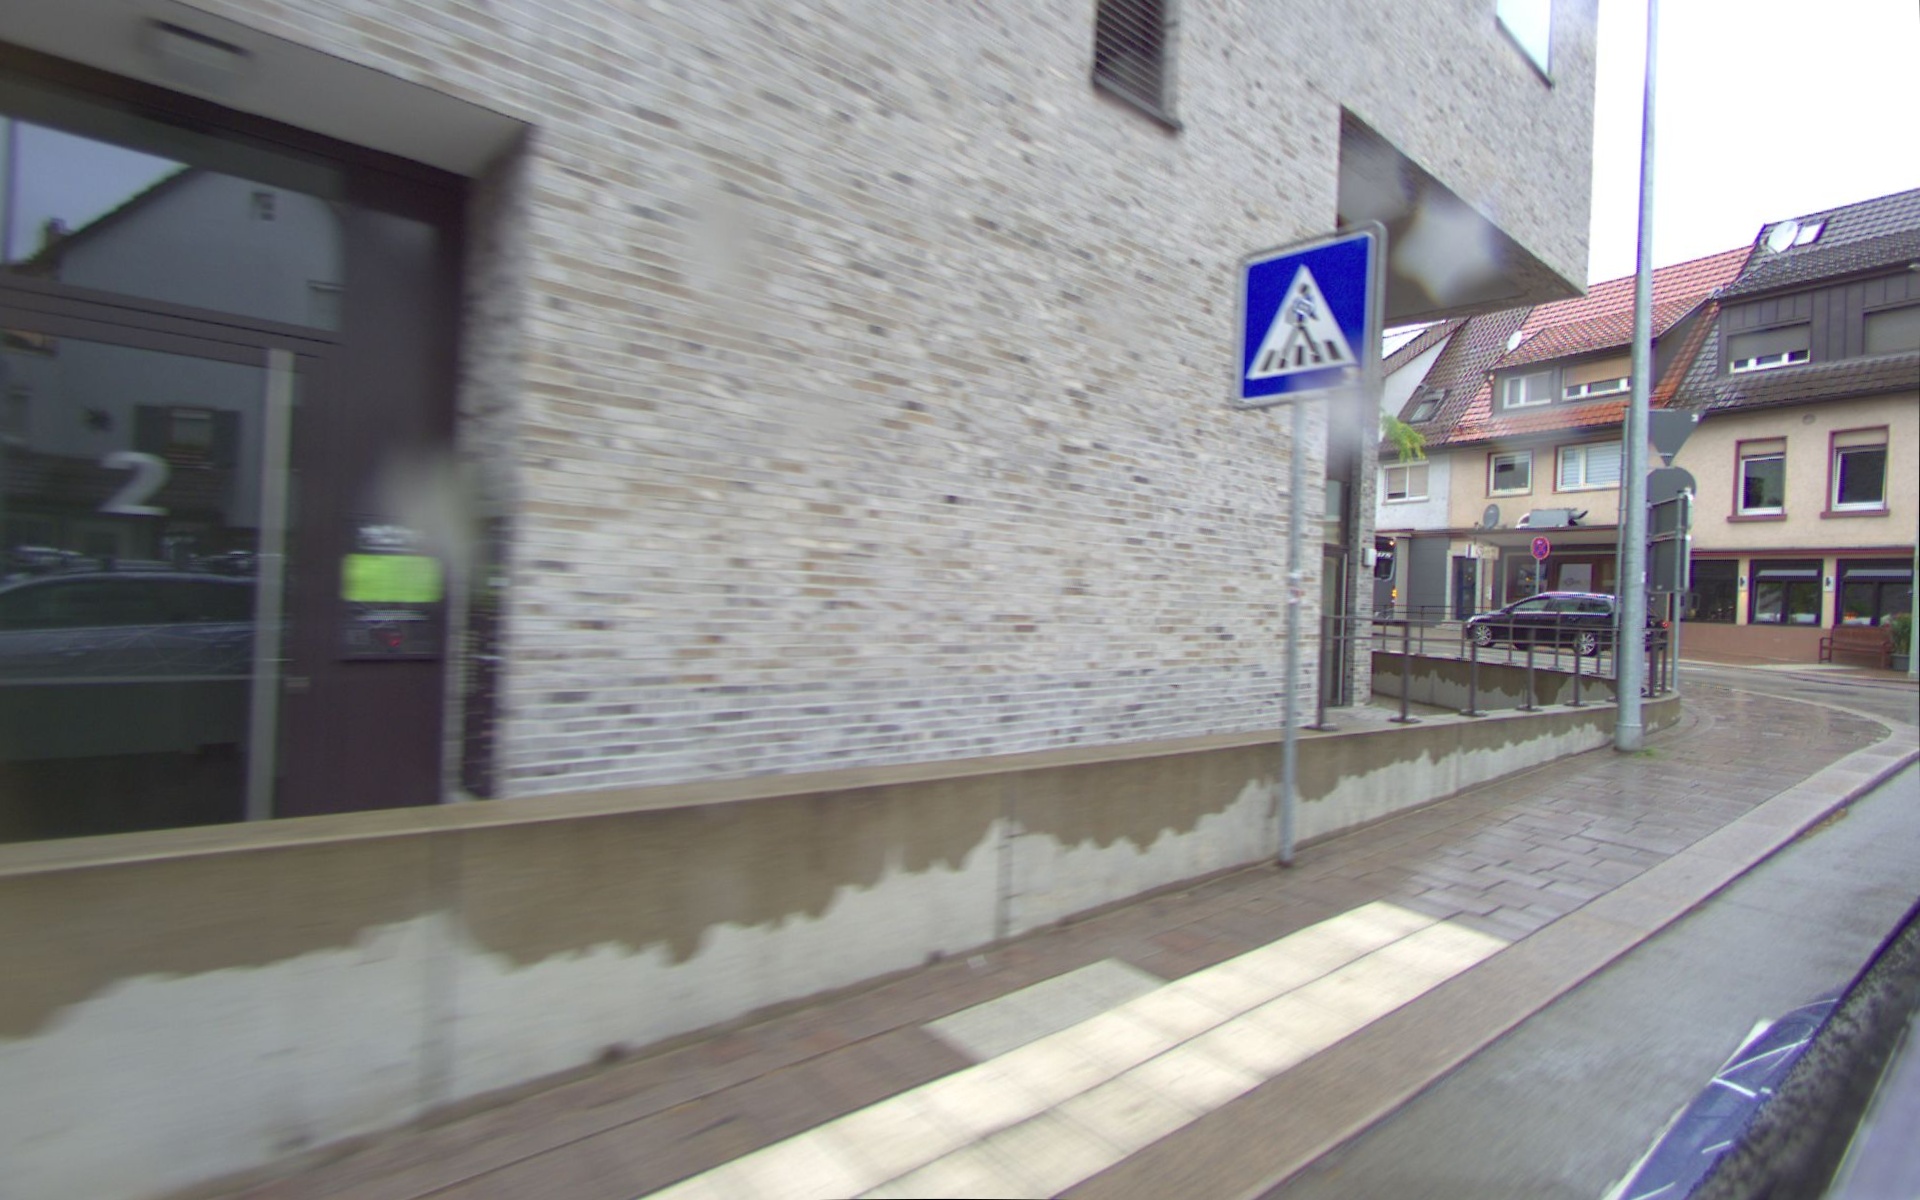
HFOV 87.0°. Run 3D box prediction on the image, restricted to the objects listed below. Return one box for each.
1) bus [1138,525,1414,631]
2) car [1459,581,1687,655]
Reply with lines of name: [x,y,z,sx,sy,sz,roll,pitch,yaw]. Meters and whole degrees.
bus: [10.517,-0.878,35.619,2.675,3.118,10.971,2,2,-23]
car: [14.481,0.376,24.242,1.635,1.448,4.478,5,-1,-23]
